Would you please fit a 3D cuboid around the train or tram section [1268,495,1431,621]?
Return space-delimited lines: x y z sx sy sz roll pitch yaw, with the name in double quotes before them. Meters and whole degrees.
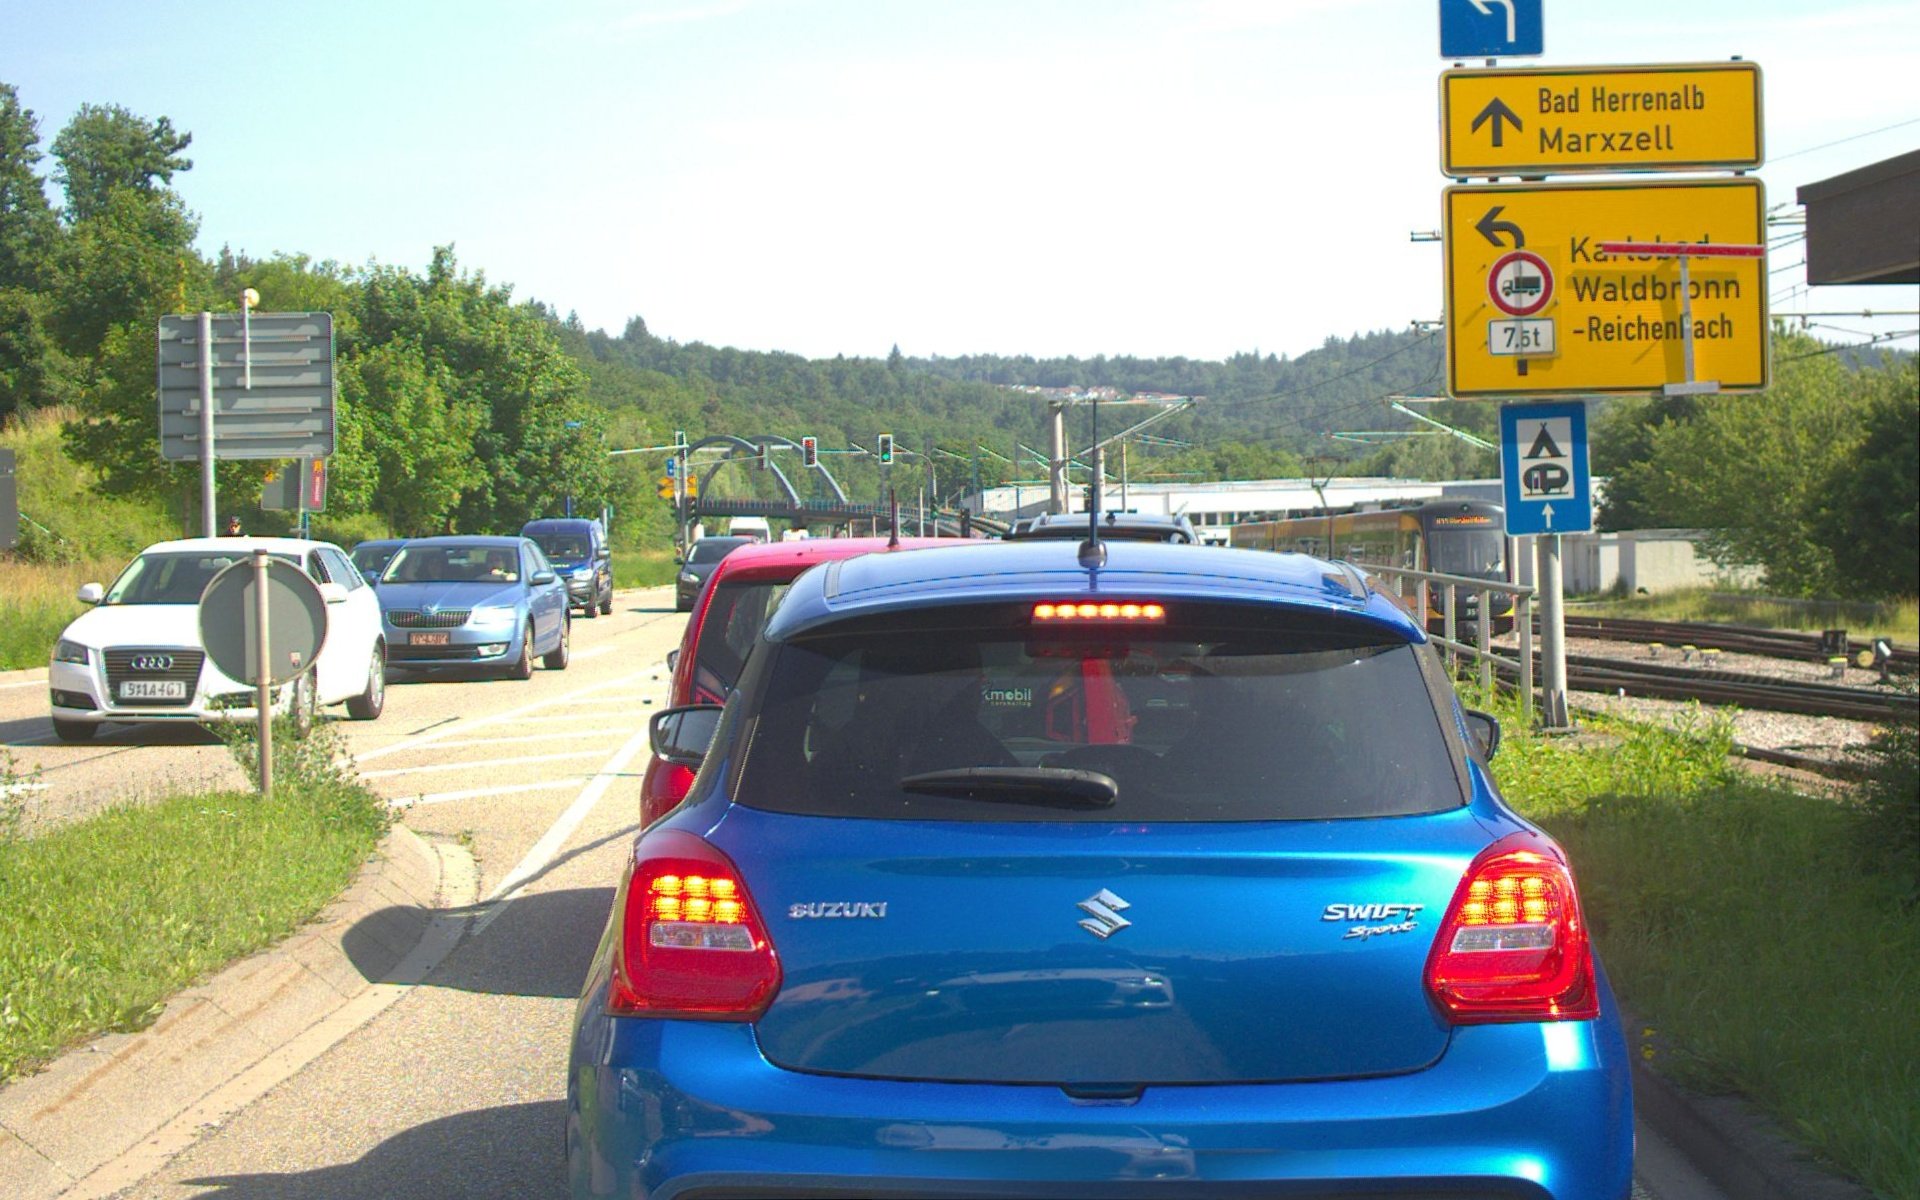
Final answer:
"train or tram section" 11.112 -1.226 99.282 2.786 3.353 12.049 1 1 -2

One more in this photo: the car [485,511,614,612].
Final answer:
"car" -7.512 -0.740 63.226 1.832 1.707 3.811 2 2 1

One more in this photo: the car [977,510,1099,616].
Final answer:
"car" 1.339 -0.670 59.741 1.993 1.730 4.000 2 1 1

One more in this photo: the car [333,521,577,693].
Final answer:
"car" -5.085 0.025 35.076 1.832 1.463 3.811 2 3 1

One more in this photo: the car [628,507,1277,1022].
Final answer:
"car" 0.007 0.479 12.710 1.993 1.566 4.000 1 1 1

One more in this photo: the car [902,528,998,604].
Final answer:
"car" -0.186 -0.725 71.199 1.832 1.426 3.811 2 2 1

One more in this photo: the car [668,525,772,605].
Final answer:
"car" -4.733 -0.714 68.130 1.832 1.426 3.811 2 2 -1

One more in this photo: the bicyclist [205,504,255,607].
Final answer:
"bicyclist" -10.887 -0.666 51.310 0.629 1.502 0.506 2 2 -3

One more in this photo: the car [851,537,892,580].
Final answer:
"car" -4.478 -2.133 174.428 1.993 2.006 4.001 2 2 -1

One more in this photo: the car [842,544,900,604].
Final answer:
"car" -3.239 -0.958 125.514 1.993 2.006 4.001 2 2 -1

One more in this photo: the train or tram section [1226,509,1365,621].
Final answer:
"train or tram section" 10.708 -1.124 111.003 2.755 3.353 12.049 1 0 -2

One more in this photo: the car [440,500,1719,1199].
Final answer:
"car" 0.129 0.586 7.041 1.868 1.543 4.000 0 1 -1

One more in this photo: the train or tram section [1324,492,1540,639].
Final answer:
"train or tram section" 11.605 -0.930 86.233 2.855 3.353 14.356 1 1 -2

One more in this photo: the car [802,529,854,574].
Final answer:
"car" -5.354 -1.984 140.159 1.993 1.777 4.000 1 1 -1

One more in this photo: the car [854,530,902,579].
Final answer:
"car" -3.588 -2.030 151.507 1.993 2.006 4.001 2 2 -1

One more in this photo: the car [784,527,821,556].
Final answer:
"car" -10.383 -3.866 226.446 1.993 1.810 4.001 1 2 -8

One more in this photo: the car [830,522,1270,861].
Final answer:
"car" 0.448 0.367 17.978 1.993 1.526 4.602 -1 1 1

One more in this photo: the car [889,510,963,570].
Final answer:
"car" -0.914 -1.650 93.456 1.832 1.488 3.811 2 2 1

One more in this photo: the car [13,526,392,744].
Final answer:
"car" -5.424 0.195 25.104 1.832 1.364 3.950 1 2 1

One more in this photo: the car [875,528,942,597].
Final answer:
"car" -1.613 -1.189 107.701 1.993 2.006 4.001 2 2 -1

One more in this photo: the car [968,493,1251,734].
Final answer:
"car" 1.118 0.046 27.095 1.993 1.681 4.497 2 1 1
